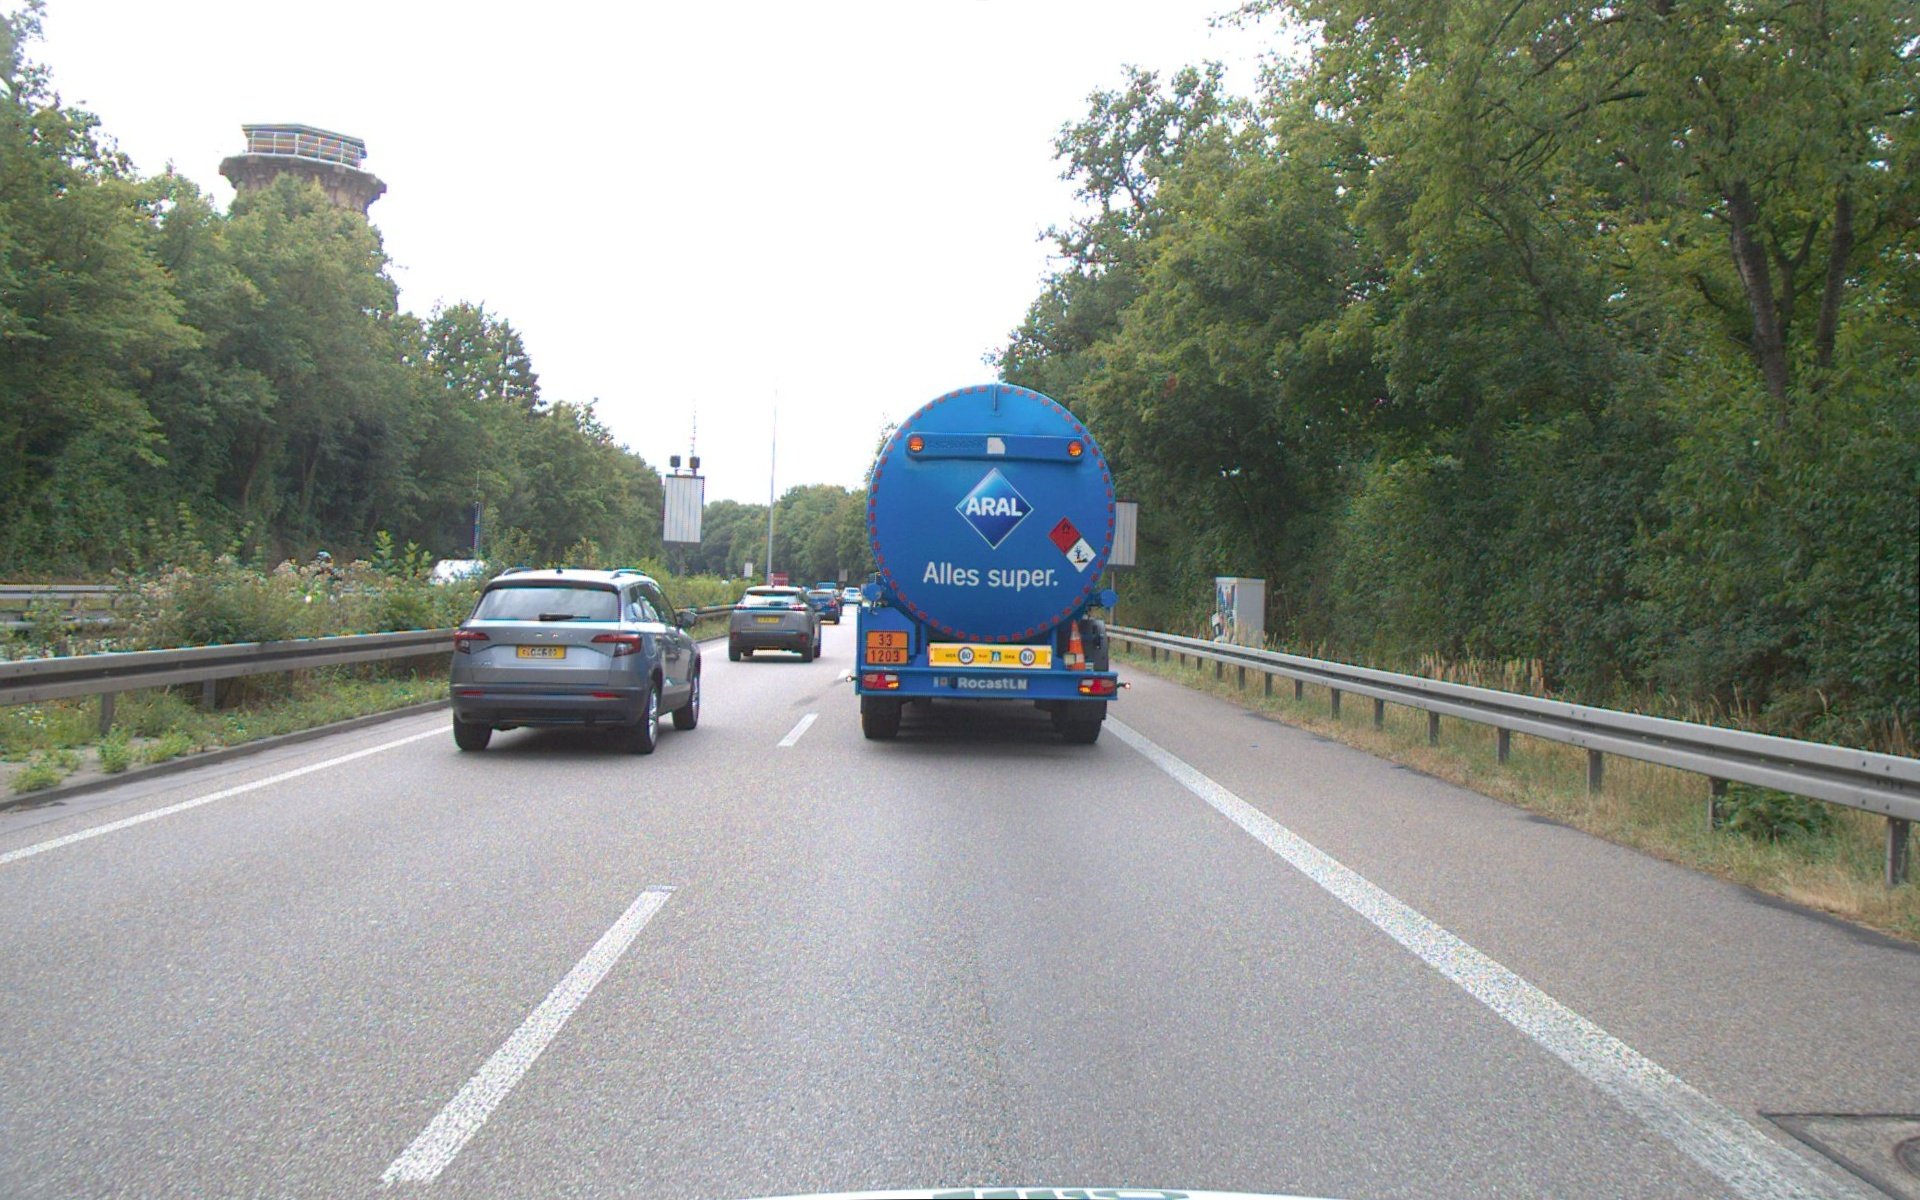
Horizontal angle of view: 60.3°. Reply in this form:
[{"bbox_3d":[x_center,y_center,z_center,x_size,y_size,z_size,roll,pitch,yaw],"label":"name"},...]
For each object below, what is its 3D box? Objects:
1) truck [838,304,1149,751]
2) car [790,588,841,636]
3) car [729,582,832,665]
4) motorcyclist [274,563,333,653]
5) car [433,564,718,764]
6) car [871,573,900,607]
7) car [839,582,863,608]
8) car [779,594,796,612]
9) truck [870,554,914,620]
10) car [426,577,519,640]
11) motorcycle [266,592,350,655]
[{"bbox_3d":[0.247,-0.620,18.525,2.699,3.914,7.686,1,0,-1],"label":"truck"},{"bbox_3d":[-6.434,0.549,74.026,1.953,2.049,3.999,1,0,-1],"label":"car"},{"bbox_3d":[-3.780,0.479,35.429,1.789,1.638,4.166,1,0,-1],"label":"car"},{"bbox_3d":[-11.784,0.144,29.720,0.667,1.576,0.846,3,0,-2],"label":"motorcyclist"},{"bbox_3d":[-3.509,0.549,15.878,1.789,1.638,4.166,1,0,-1],"label":"car"},{"bbox_3d":[-5.238,-0.674,116.816,1.953,2.284,3.999,1,0,-1],"label":"car"},{"bbox_3d":[-9.890,-0.396,149.854,1.953,2.284,3.999,1,0,-1],"label":"car"},{"bbox_3d":[-21.710,0.374,208.488,1.956,2.284,3.993,1,0,-8],"label":"car"},{"bbox_3d":[-3.371,-0.590,83.280,1.953,3.147,7.813,1,0,-1],"label":"truck"},{"bbox_3d":[-16.819,0.307,57.308,1.760,2.049,5.300,1,0,-2],"label":"car"},{"bbox_3d":[-11.816,0.418,30.056,0.687,1.085,2.195,1,0,-1],"label":"motorcycle"}]
